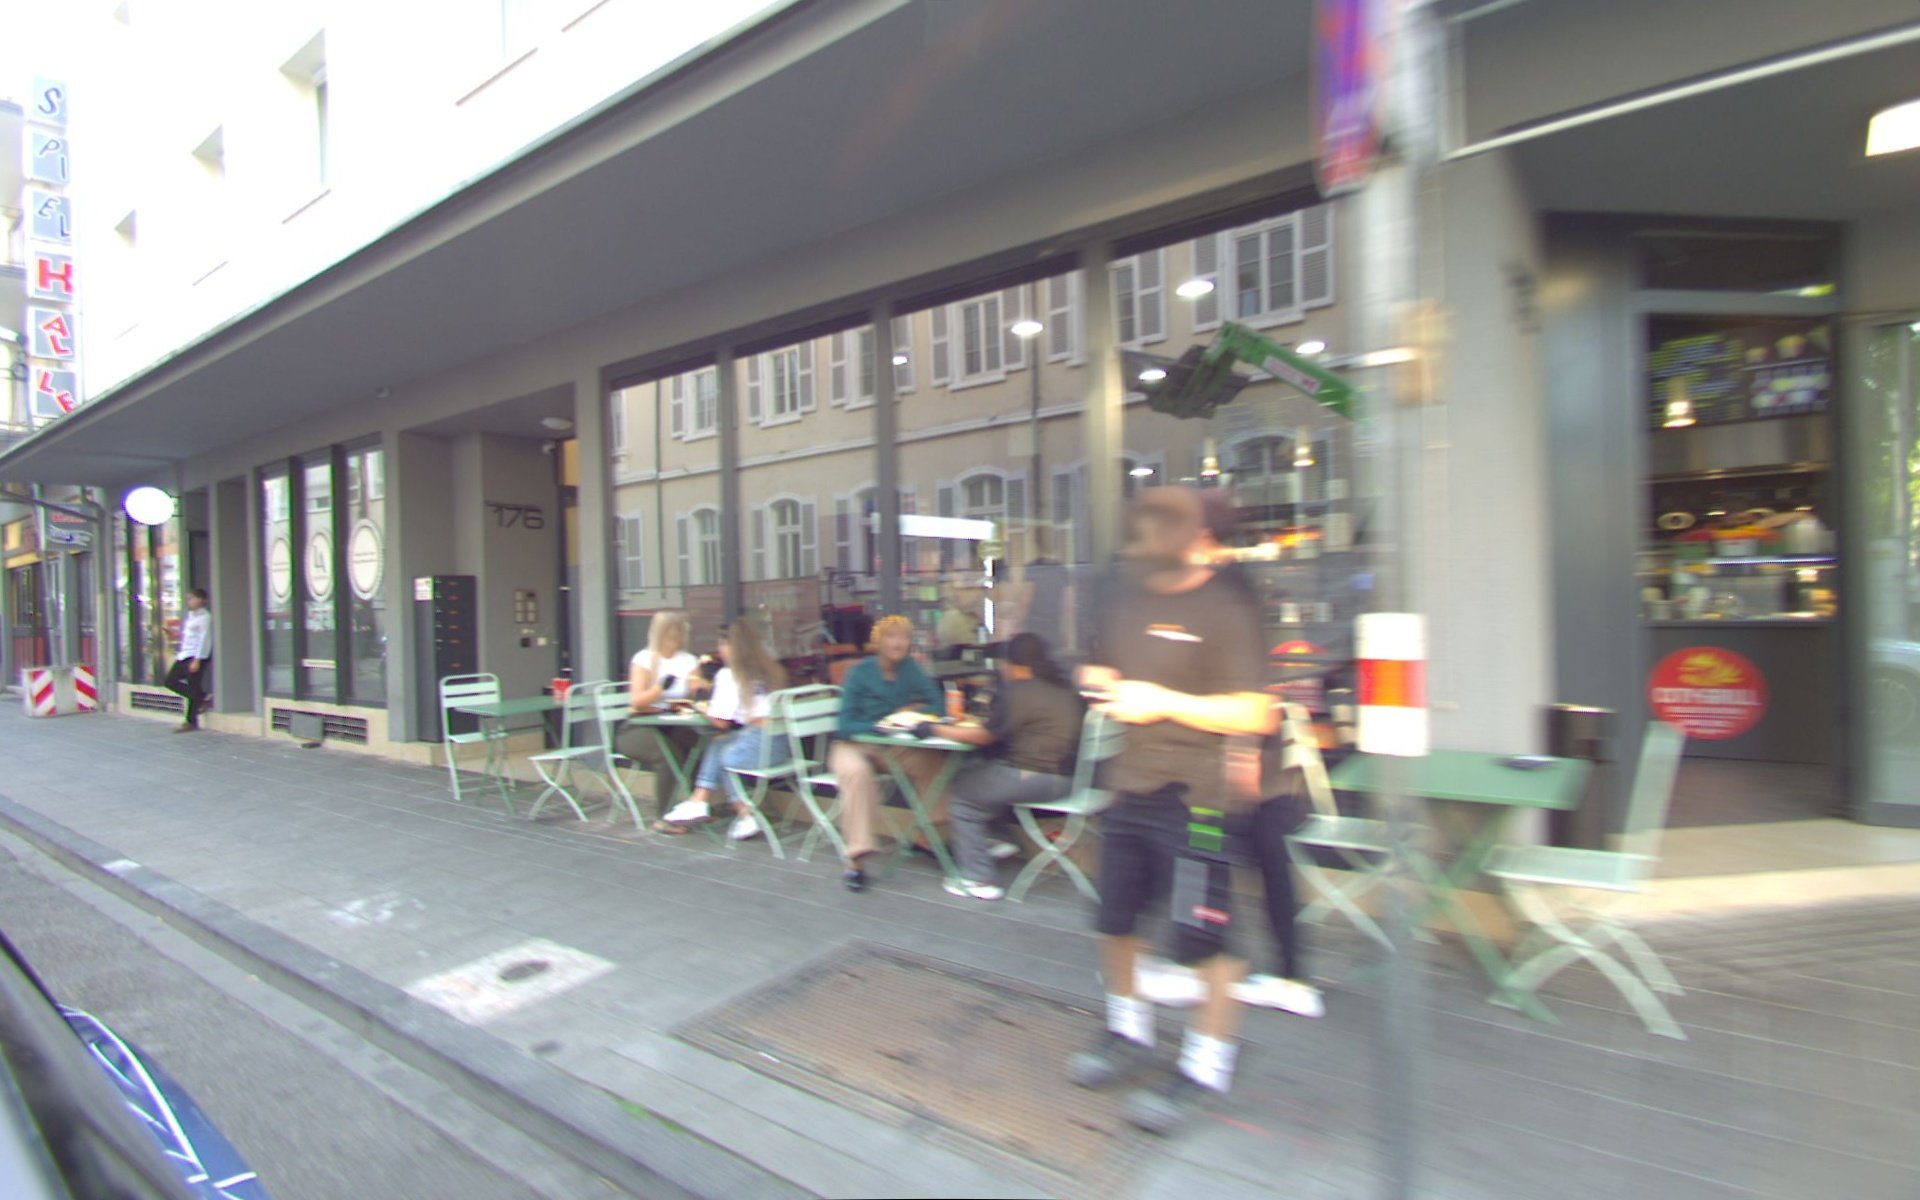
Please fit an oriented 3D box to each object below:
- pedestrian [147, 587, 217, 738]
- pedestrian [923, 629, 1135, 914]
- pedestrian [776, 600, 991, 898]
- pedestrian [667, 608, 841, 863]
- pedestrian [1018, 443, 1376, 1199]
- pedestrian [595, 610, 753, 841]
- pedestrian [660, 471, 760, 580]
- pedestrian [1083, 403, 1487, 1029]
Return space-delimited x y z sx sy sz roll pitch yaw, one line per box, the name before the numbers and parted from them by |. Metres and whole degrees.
pedestrian | -9.824 0.774 12.785 0.561 1.848 0.526 -2 -1 32
pedestrian | 0.312 0.716 4.560 0.712 1.122 0.567 -2 1 38
pedestrian | -0.369 0.669 4.948 0.712 1.285 0.695 -2 1 38
pedestrian | -1.152 0.713 5.657 0.712 1.285 0.567 -2 1 38
pedestrian | 0.596 0.494 2.626 0.498 1.680 0.689 -3 1 -37
pedestrian | -1.750 0.727 6.193 0.712 1.285 0.567 -2 1 38
pedestrian | -5.611 -1.556 22.664 1.966 2.029 4.011 -1 -1 -14
pedestrian | 1.019 0.299 3.295 0.785 1.680 0.905 -3 1 -29
